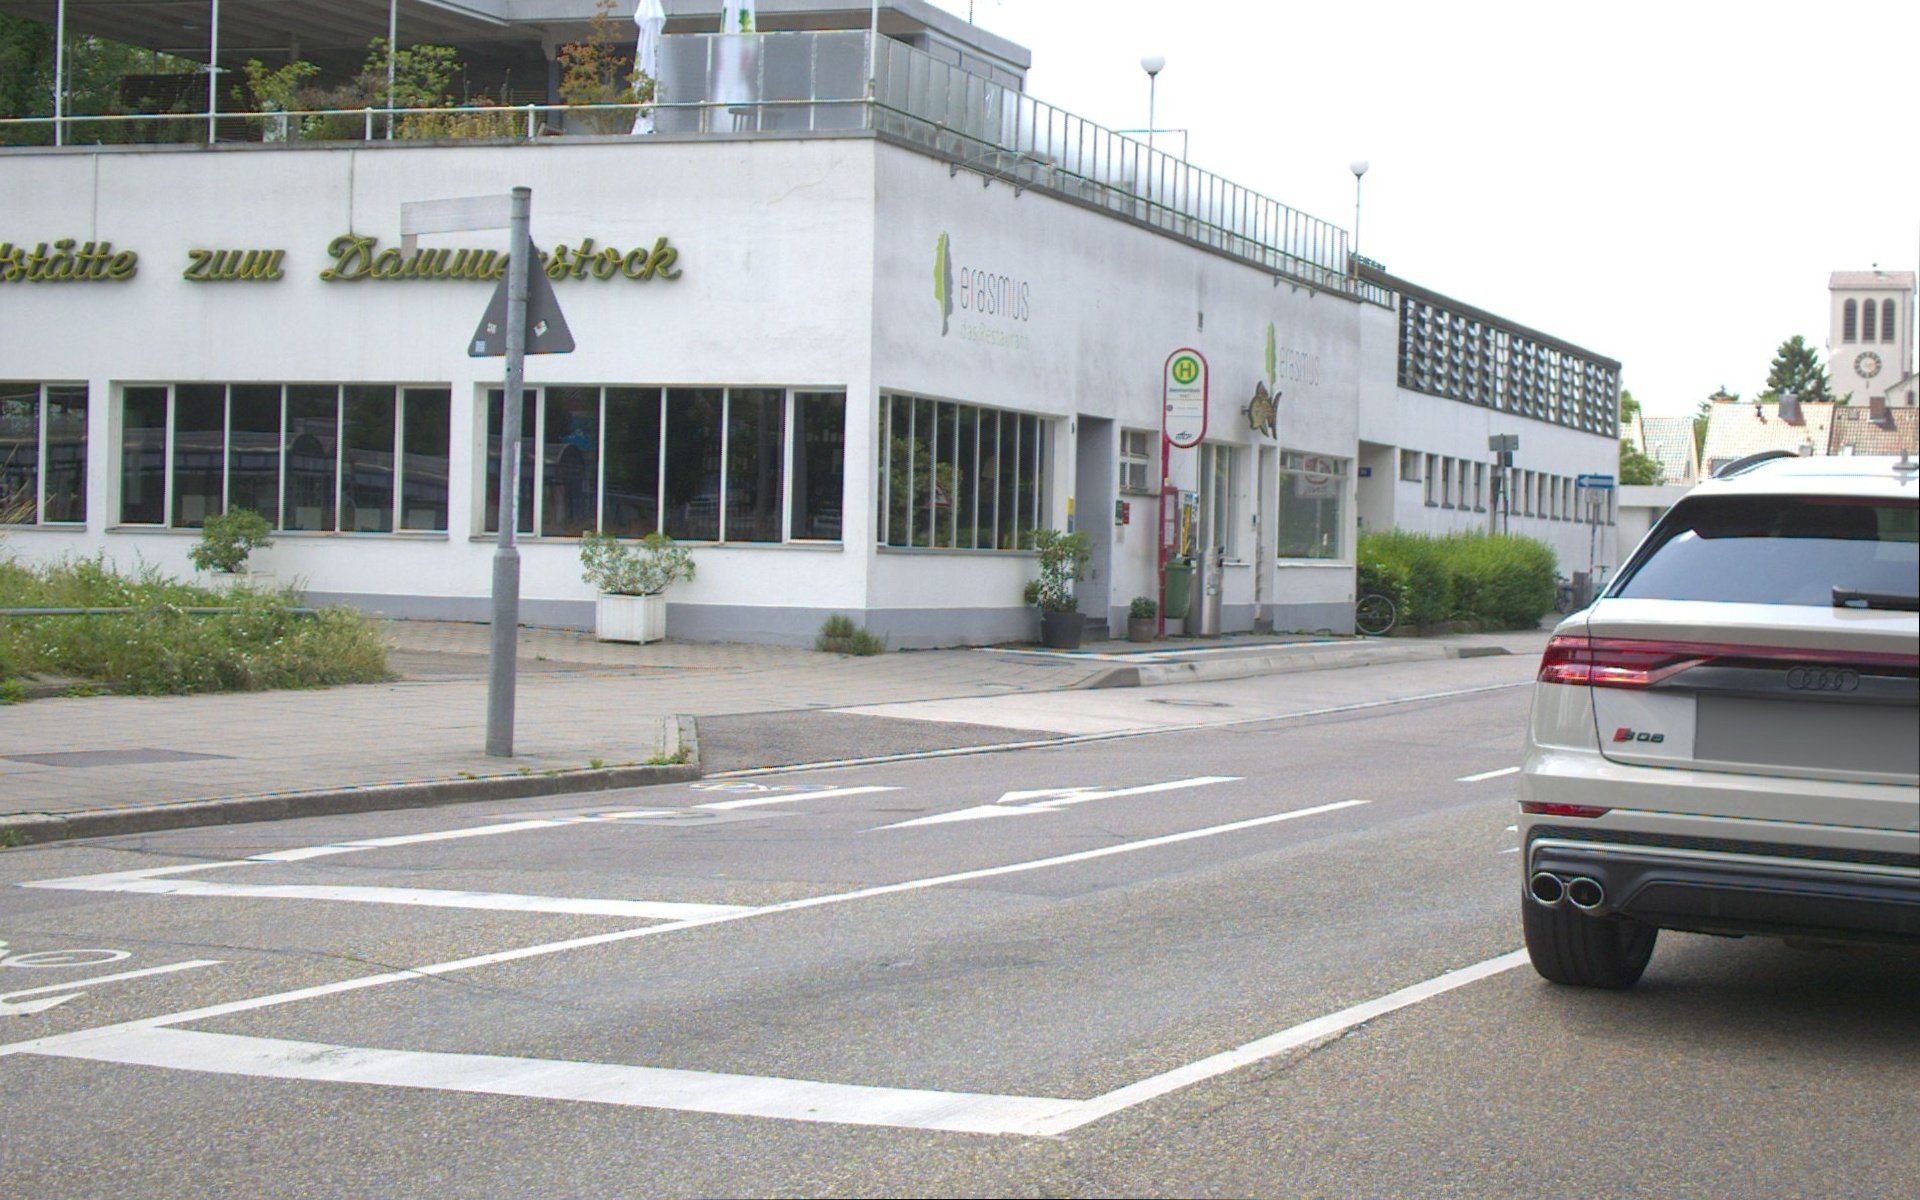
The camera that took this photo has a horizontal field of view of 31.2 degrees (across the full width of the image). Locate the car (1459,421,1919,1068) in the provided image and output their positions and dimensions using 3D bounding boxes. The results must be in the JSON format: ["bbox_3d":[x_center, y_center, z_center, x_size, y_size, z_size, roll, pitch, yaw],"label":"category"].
[{"bbox_3d":[3.300,0.373,11.317,1.984,1.678,4.568,4,2,25],"label":"car"}]

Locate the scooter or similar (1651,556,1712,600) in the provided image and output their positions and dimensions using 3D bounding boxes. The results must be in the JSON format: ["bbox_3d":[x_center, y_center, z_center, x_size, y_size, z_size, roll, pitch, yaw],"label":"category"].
[{"bbox_3d":[16.744,-0.514,79.845,0.622,0.992,1.996,2,0,-11],"label":"scooter or similar"}]

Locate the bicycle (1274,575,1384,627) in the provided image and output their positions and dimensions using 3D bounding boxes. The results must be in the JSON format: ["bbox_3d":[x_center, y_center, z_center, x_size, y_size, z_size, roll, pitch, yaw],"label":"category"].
[{"bbox_3d":[5.803,0.010,54.124,1.669,0.755,0.411,2,1,2],"label":"bicycle"}]

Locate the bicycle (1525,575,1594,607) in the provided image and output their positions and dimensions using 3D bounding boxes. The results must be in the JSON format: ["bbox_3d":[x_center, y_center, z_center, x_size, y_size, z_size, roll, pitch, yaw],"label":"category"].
[{"bbox_3d":[15.849,-0.245,90.958,1.669,0.755,0.570,3,1,-6],"label":"bicycle"}]

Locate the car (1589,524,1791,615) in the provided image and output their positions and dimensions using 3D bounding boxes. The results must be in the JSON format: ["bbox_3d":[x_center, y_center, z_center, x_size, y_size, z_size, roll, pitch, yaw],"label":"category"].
[{"bbox_3d":[17.764,-0.737,83.600,4.635,2.007,1.998,2,0,15],"label":"car"}]
